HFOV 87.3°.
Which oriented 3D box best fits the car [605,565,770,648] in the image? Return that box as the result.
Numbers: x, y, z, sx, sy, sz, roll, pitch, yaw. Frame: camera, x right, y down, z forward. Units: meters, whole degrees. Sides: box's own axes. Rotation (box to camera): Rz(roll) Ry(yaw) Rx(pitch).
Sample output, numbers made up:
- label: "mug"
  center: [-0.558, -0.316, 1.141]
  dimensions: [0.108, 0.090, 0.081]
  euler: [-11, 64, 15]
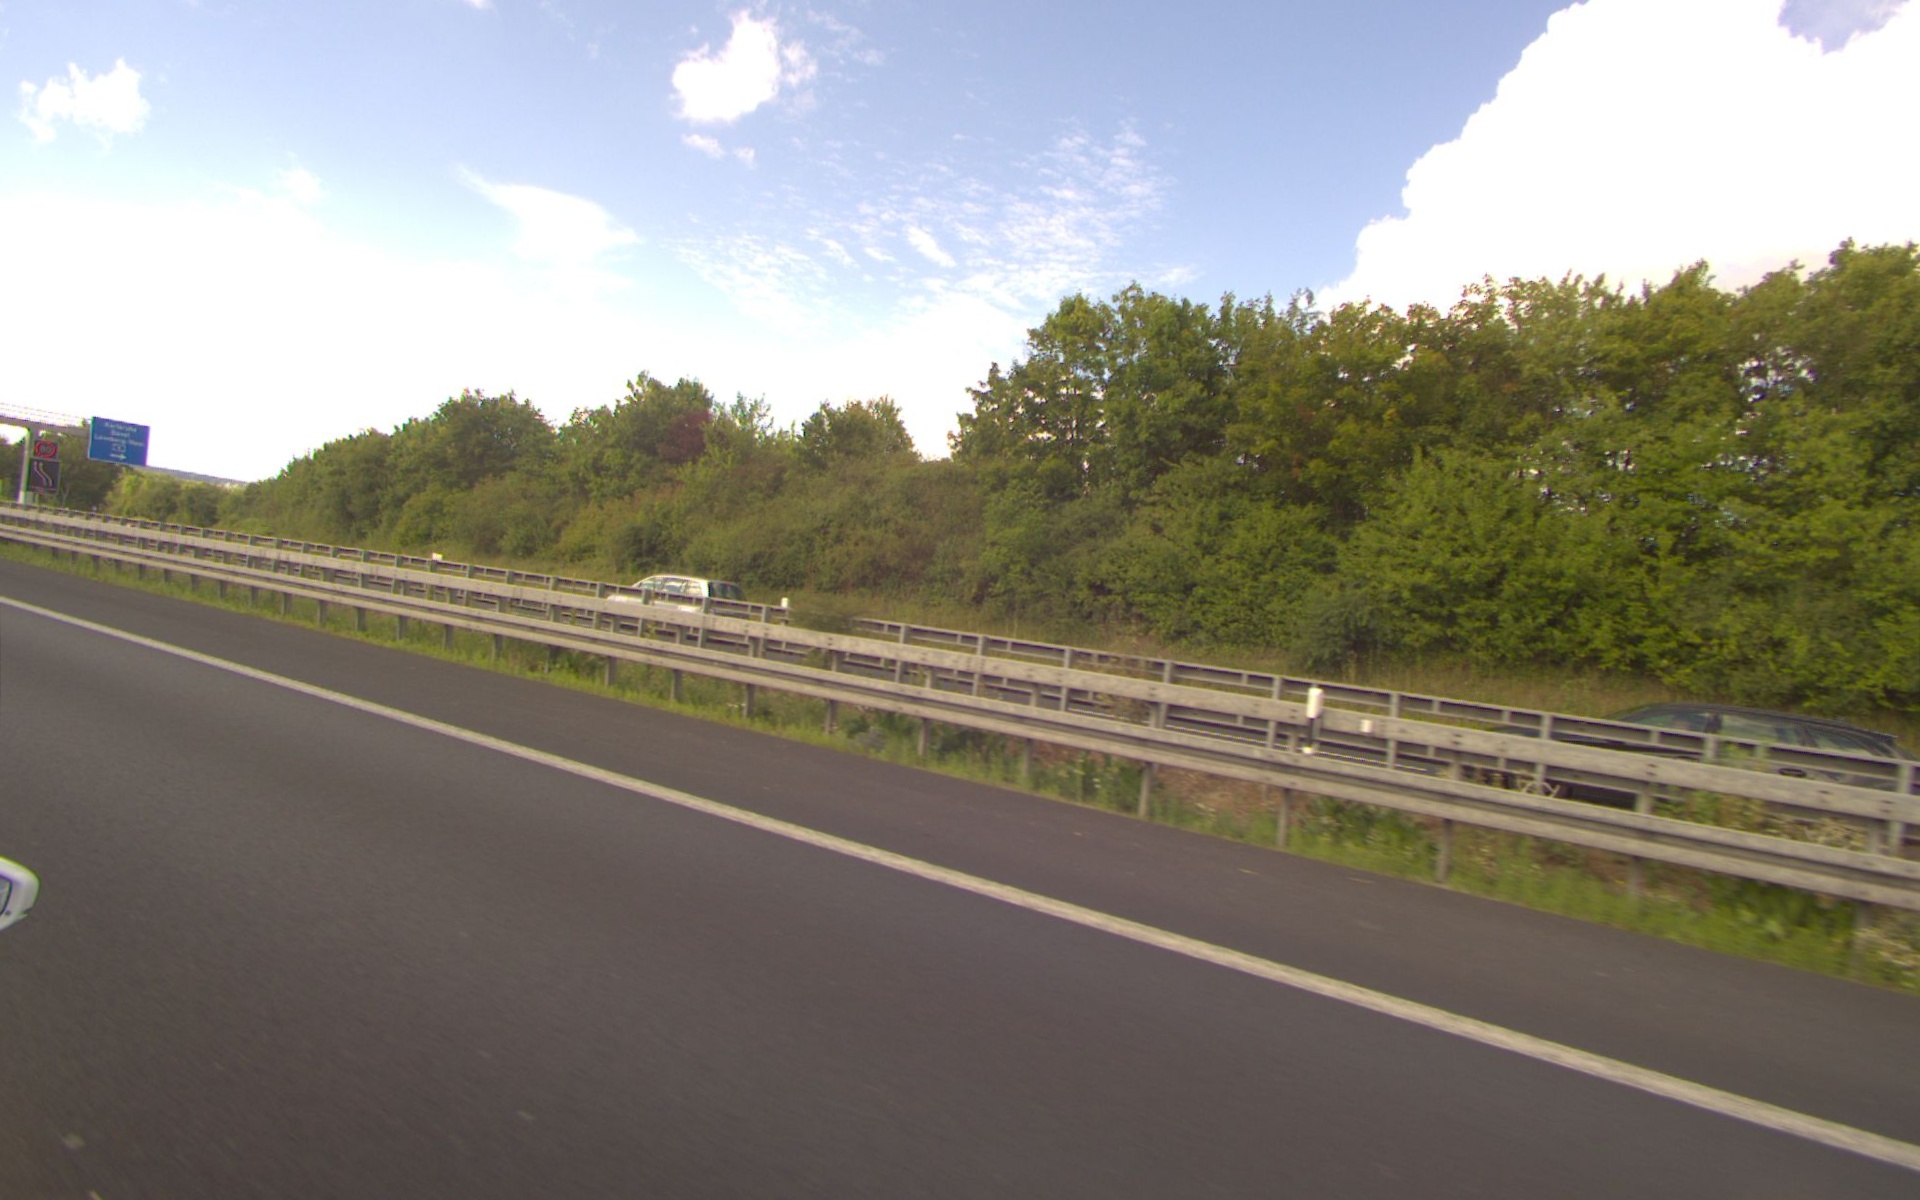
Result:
- label: "car"
  center: [-7.279, 0.167, 26.797]
  dimensions: [3.934, 1.730, 1.995]
  euler: [6, 1, 32]

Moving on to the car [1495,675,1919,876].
- label: "car"
  center: [8.570, 1.884, 11.702]
  dimensions: [3.933, 1.502, 1.996]
  euler: [6, 0, 31]
